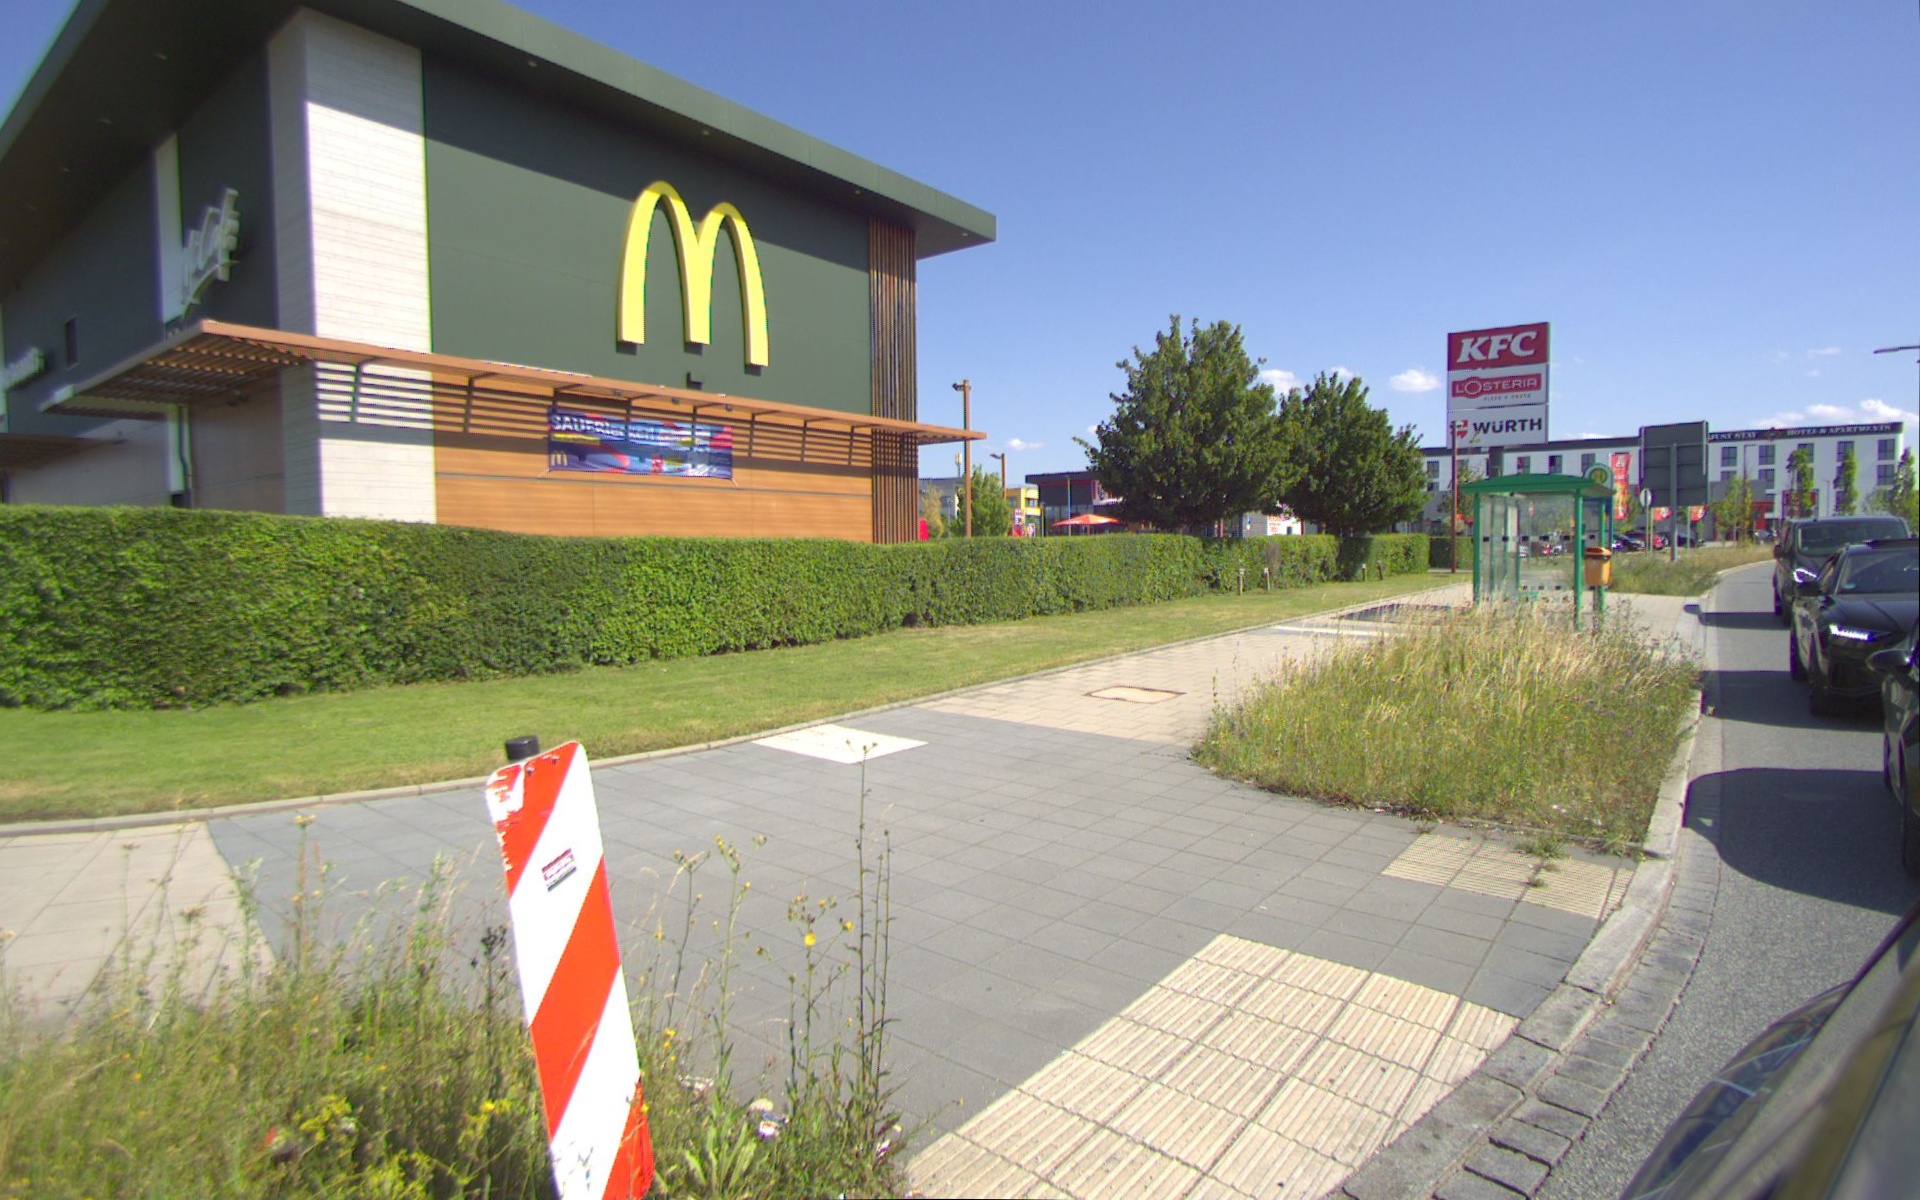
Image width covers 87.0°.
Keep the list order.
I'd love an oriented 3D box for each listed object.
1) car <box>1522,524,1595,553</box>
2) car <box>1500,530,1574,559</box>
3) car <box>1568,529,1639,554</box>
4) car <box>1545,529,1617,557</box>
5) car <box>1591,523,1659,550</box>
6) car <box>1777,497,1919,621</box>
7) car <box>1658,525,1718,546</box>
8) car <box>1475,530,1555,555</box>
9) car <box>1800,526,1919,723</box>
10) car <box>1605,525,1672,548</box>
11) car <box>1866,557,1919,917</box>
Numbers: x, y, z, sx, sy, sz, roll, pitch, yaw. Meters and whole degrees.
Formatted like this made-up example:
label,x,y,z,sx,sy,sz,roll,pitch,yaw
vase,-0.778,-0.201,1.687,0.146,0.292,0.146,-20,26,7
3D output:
label,x,y,z,sx,sy,sz,roll,pitch,yaw
car,43.587,-4.442,73.735,1.898,2.038,4.185,-3,3,-37
car,40.991,-3.935,72.015,1.898,2.038,4.186,-3,3,-36
car,48.859,-4.432,76.947,1.769,1.880,4.190,-3,3,-33
car,46.634,-4.285,76.060,1.898,2.038,4.186,-3,3,-37
car,52.681,-5.052,80.219,1.899,2.038,4.184,-3,4,-39
car,17.048,-0.811,19.350,2.071,2.073,4.617,-2,2,40
car,61.130,-5.429,85.018,1.725,1.639,3.823,-3,4,-38
car,37.707,-3.892,68.802,1.902,1.672,4.432,-4,4,-44
car,9.801,0.115,10.298,1.854,1.709,3.944,-2,2,40
car,55.173,-5.147,82.358,1.789,1.783,4.189,-3,3,-34
car,5.972,0.520,5.209,1.857,1.486,3.939,0,2,43
